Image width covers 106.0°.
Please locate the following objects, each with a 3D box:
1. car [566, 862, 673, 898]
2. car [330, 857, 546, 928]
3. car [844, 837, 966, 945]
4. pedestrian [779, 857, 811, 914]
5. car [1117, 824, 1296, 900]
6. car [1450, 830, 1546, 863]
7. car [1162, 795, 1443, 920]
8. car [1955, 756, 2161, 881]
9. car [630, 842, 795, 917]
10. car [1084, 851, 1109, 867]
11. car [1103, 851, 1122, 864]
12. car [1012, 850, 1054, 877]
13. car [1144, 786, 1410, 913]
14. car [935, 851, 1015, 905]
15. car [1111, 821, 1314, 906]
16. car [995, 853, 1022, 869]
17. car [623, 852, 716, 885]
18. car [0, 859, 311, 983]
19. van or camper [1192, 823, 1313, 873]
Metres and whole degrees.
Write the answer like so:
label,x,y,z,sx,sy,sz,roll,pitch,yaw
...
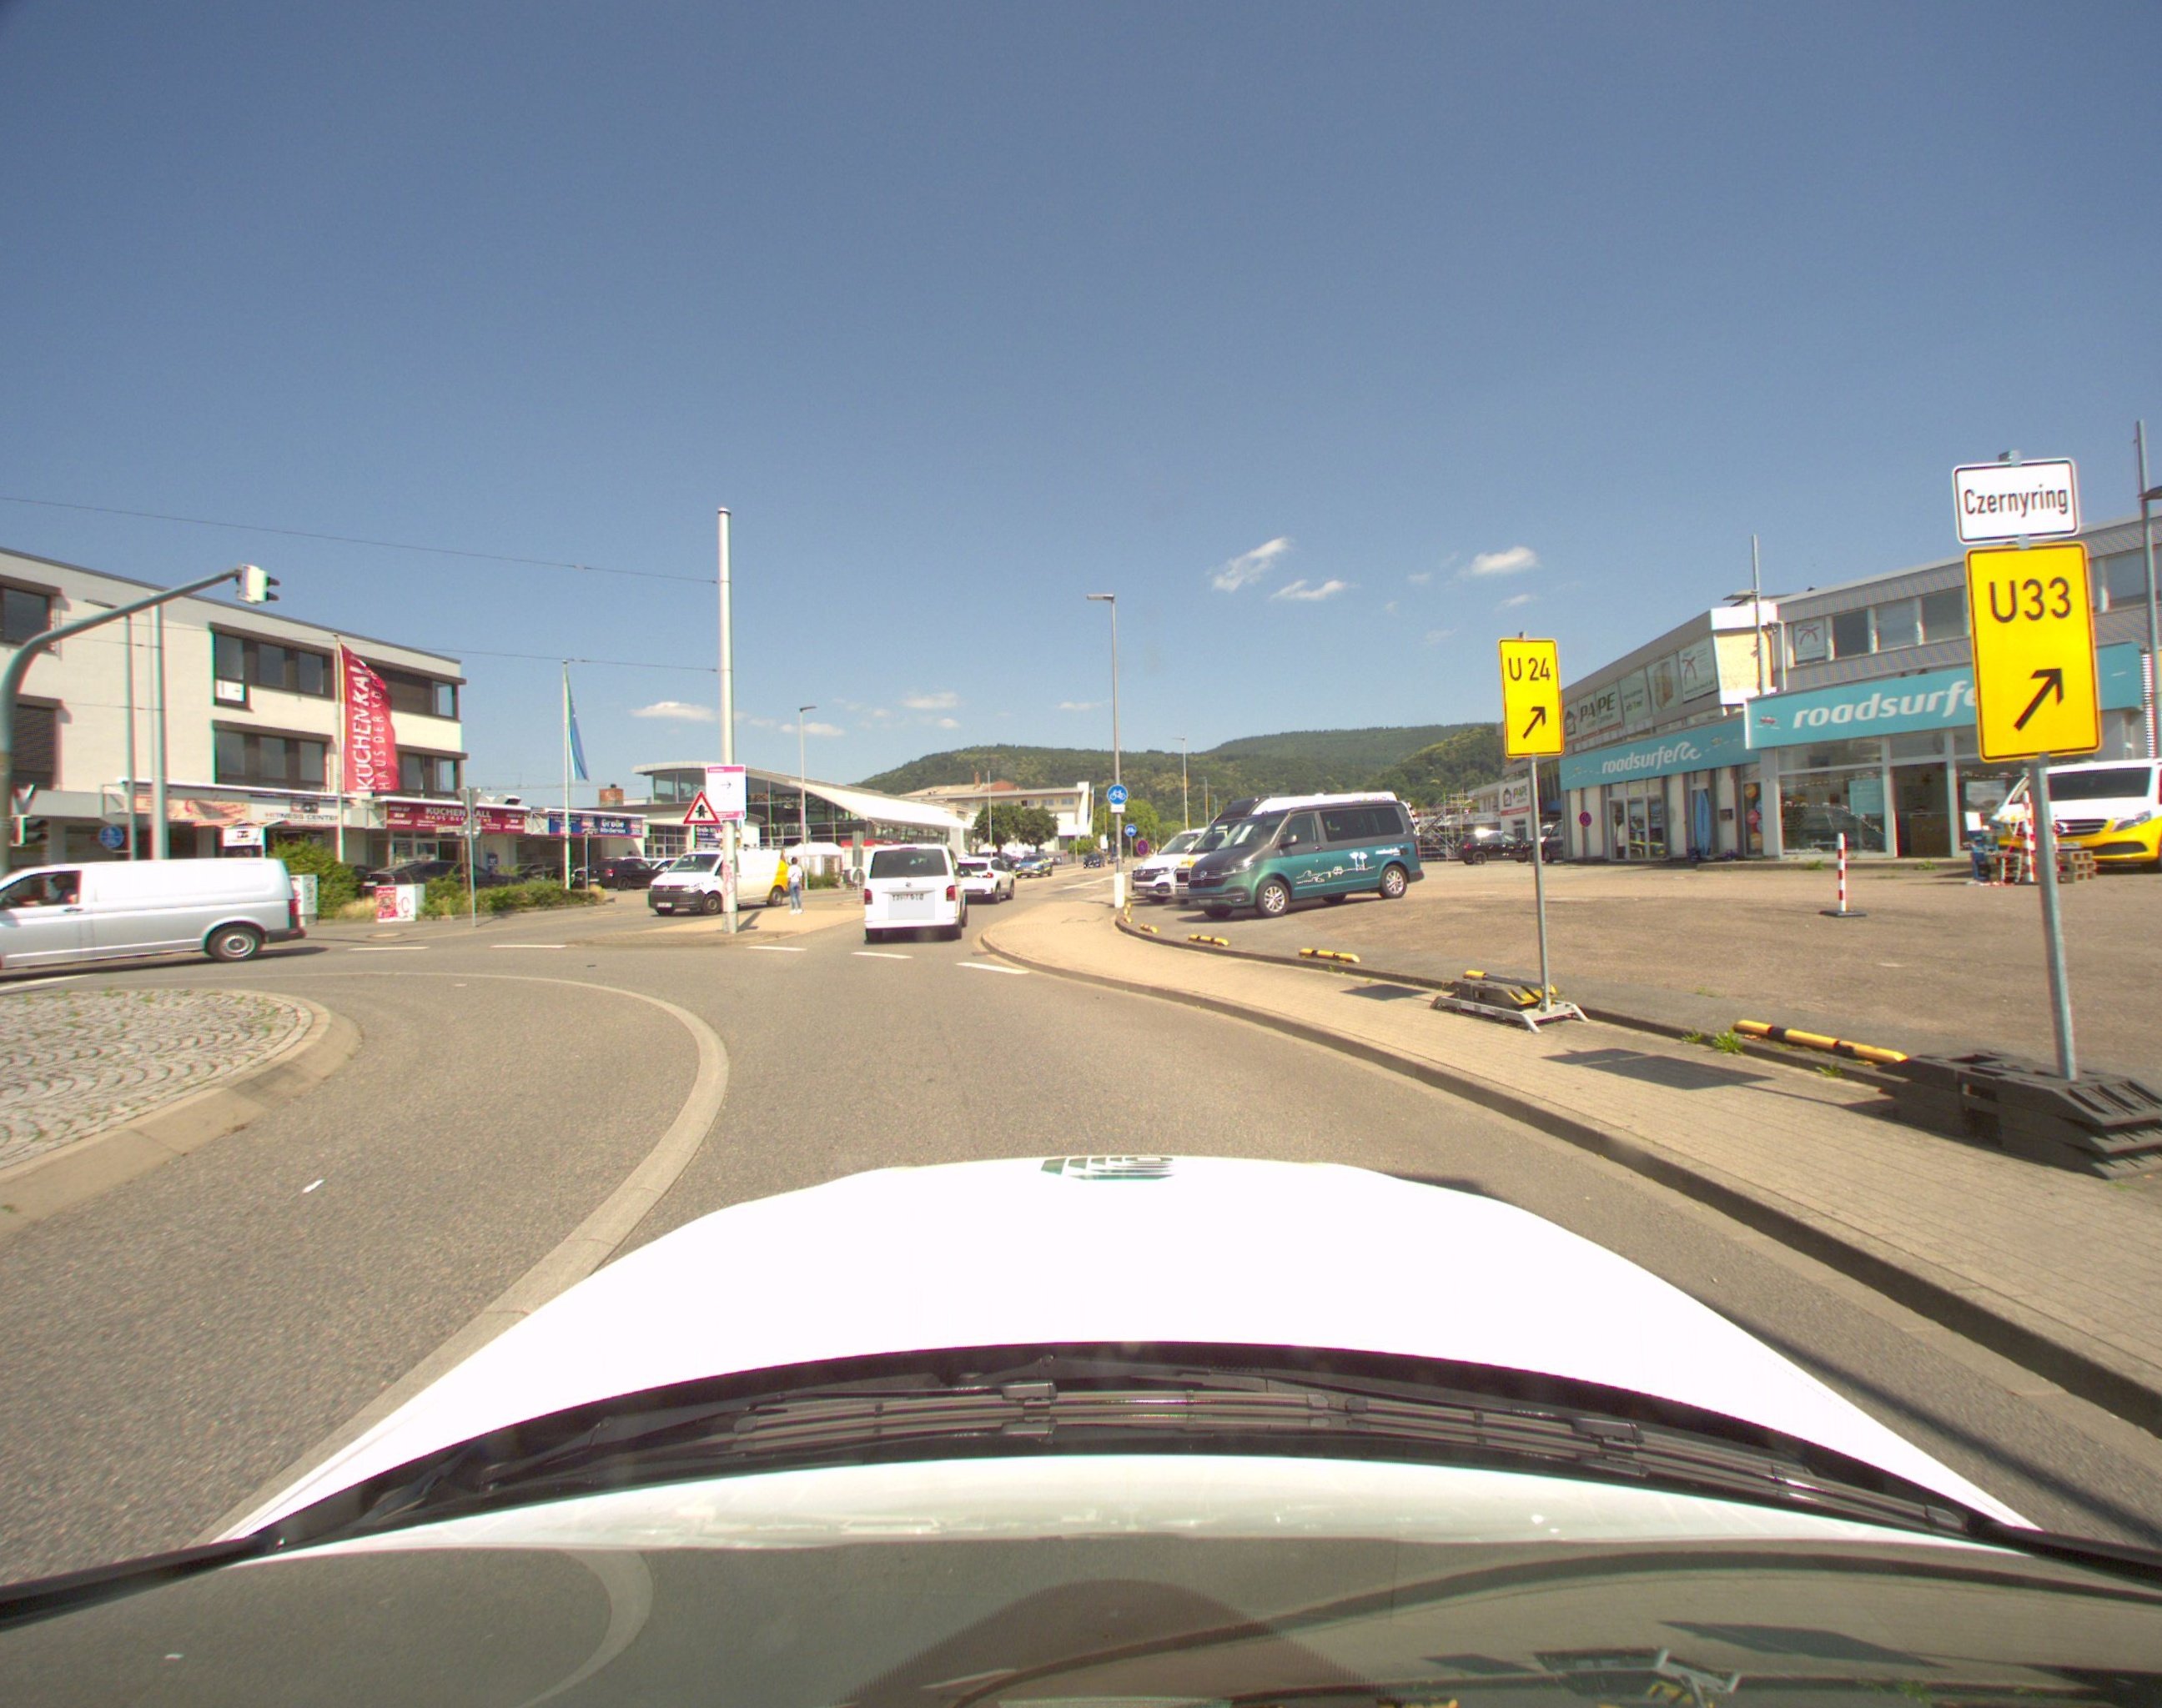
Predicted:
label,x,y,z,sx,sy,sz,roll,pitch,yaw
car,-21.467,1.184,38.120,2.014,1.427,4.329,-2,0,10
car,-20.375,1.150,26.211,1.945,1.965,5.301,-2,0,14
car,-3.721,0.722,18.147,2.160,2.014,5.005,-1,0,-7
pedestrian,-8.460,0.924,24.097,0.764,1.656,0.666,-1,-1,-31
car,3.907,0.220,25.421,5.149,2.013,1.918,-3,0,-19
car,21.265,-0.365,41.681,3.961,1.518,1.897,-2,0,11
car,4.381,-0.018,15.951,5.239,2.113,2.078,-2,0,-27
car,17.902,-0.601,14.365,5.114,1.877,2.079,-2,-1,-28
car,-11.382,0.699,25.634,2.007,2.114,4.954,-1,1,14
car,1.564,0.470,81.942,1.829,1.464,4.012,-2,0,10
car,3.999,0.460,102.355,1.830,1.464,4.011,-2,0,10
car,-3.303,0.624,57.142,1.897,1.760,4.464,-2,0,10
car,4.823,-0.191,19.814,6.168,2.717,2.287,-2,0,-25
car,-3.679,0.793,28.928,1.984,1.707,4.006,1,1,5
car,3.628,0.224,22.380,5.165,2.000,2.009,-2,-1,-23
car,-7.447,0.750,83.043,1.752,1.585,3.634,-2,0,-22
car,-22.358,0.763,44.525,1.869,1.588,4.942,-4,-1,10
car,-17.322,1.107,14.573,1.908,1.935,4.860,-2,0,36
van or camper,9.732,-0.295,46.451,6.460,2.561,2.984,-2,0,12
